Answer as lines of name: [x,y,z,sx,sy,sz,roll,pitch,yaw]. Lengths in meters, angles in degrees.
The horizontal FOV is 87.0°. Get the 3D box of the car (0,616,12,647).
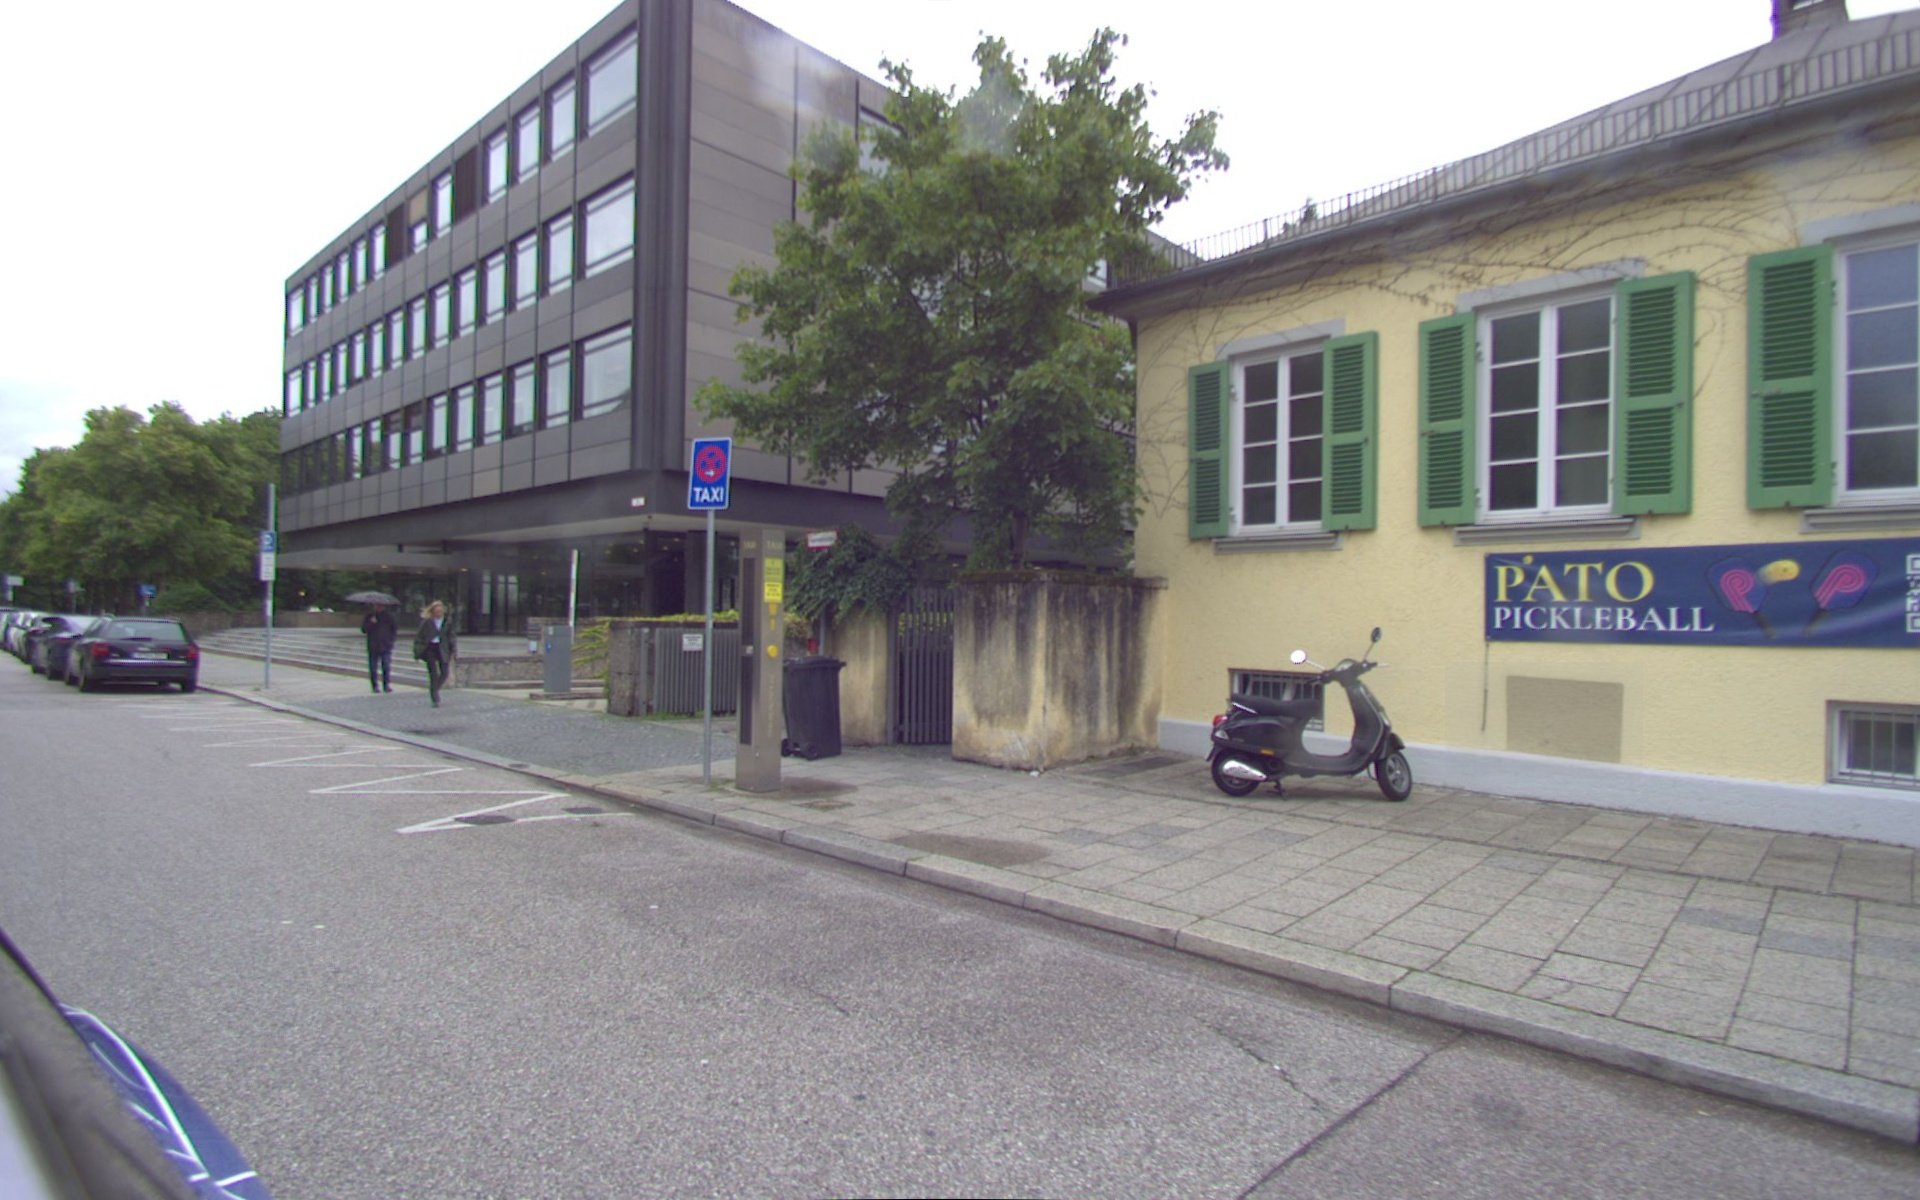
car: [-51.265,1.633,53.097,4.365,1.555,1.971,-1,-3,44]

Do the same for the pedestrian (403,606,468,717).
pedestrian: [-8.739,0.994,16.847,0.743,1.762,0.954,-1,0,-40]

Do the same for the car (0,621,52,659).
car: [-37.893,1.570,40.684,4.219,1.411,1.738,-1,-5,45]

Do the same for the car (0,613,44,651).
car: [-42.179,1.403,44.804,4.522,1.595,1.971,-1,-3,43]

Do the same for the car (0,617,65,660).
car: [-34.181,1.390,37.194,3.553,1.482,1.526,-1,-4,43]

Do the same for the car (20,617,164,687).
car: [-20.641,1.195,23.993,4.917,1.450,1.902,0,-3,42]

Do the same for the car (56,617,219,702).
car: [-16.719,1.133,20.483,4.885,1.502,1.971,-1,-3,45]

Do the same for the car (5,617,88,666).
car: [-30.150,1.355,33.350,4.280,1.451,1.662,-1,-5,44]

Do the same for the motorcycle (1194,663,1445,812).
motorcycle: [2.856,1.082,8.175,1.816,1.109,0.557,-1,0,7]

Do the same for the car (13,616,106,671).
car: [-26.570,1.260,29.805,4.239,1.472,1.720,-1,-4,45]

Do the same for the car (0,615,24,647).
car: [-46.946,1.488,49.124,4.649,1.472,1.971,-1,-3,44]

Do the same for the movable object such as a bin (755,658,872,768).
movable object such as a bin: [-1.570,1.180,10.866,0.840,1.072,0.925,-2,-2,41]

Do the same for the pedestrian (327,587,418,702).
pedestrian: [-11.131,0.829,19.185,1.221,2.070,1.123,-1,-3,42]
